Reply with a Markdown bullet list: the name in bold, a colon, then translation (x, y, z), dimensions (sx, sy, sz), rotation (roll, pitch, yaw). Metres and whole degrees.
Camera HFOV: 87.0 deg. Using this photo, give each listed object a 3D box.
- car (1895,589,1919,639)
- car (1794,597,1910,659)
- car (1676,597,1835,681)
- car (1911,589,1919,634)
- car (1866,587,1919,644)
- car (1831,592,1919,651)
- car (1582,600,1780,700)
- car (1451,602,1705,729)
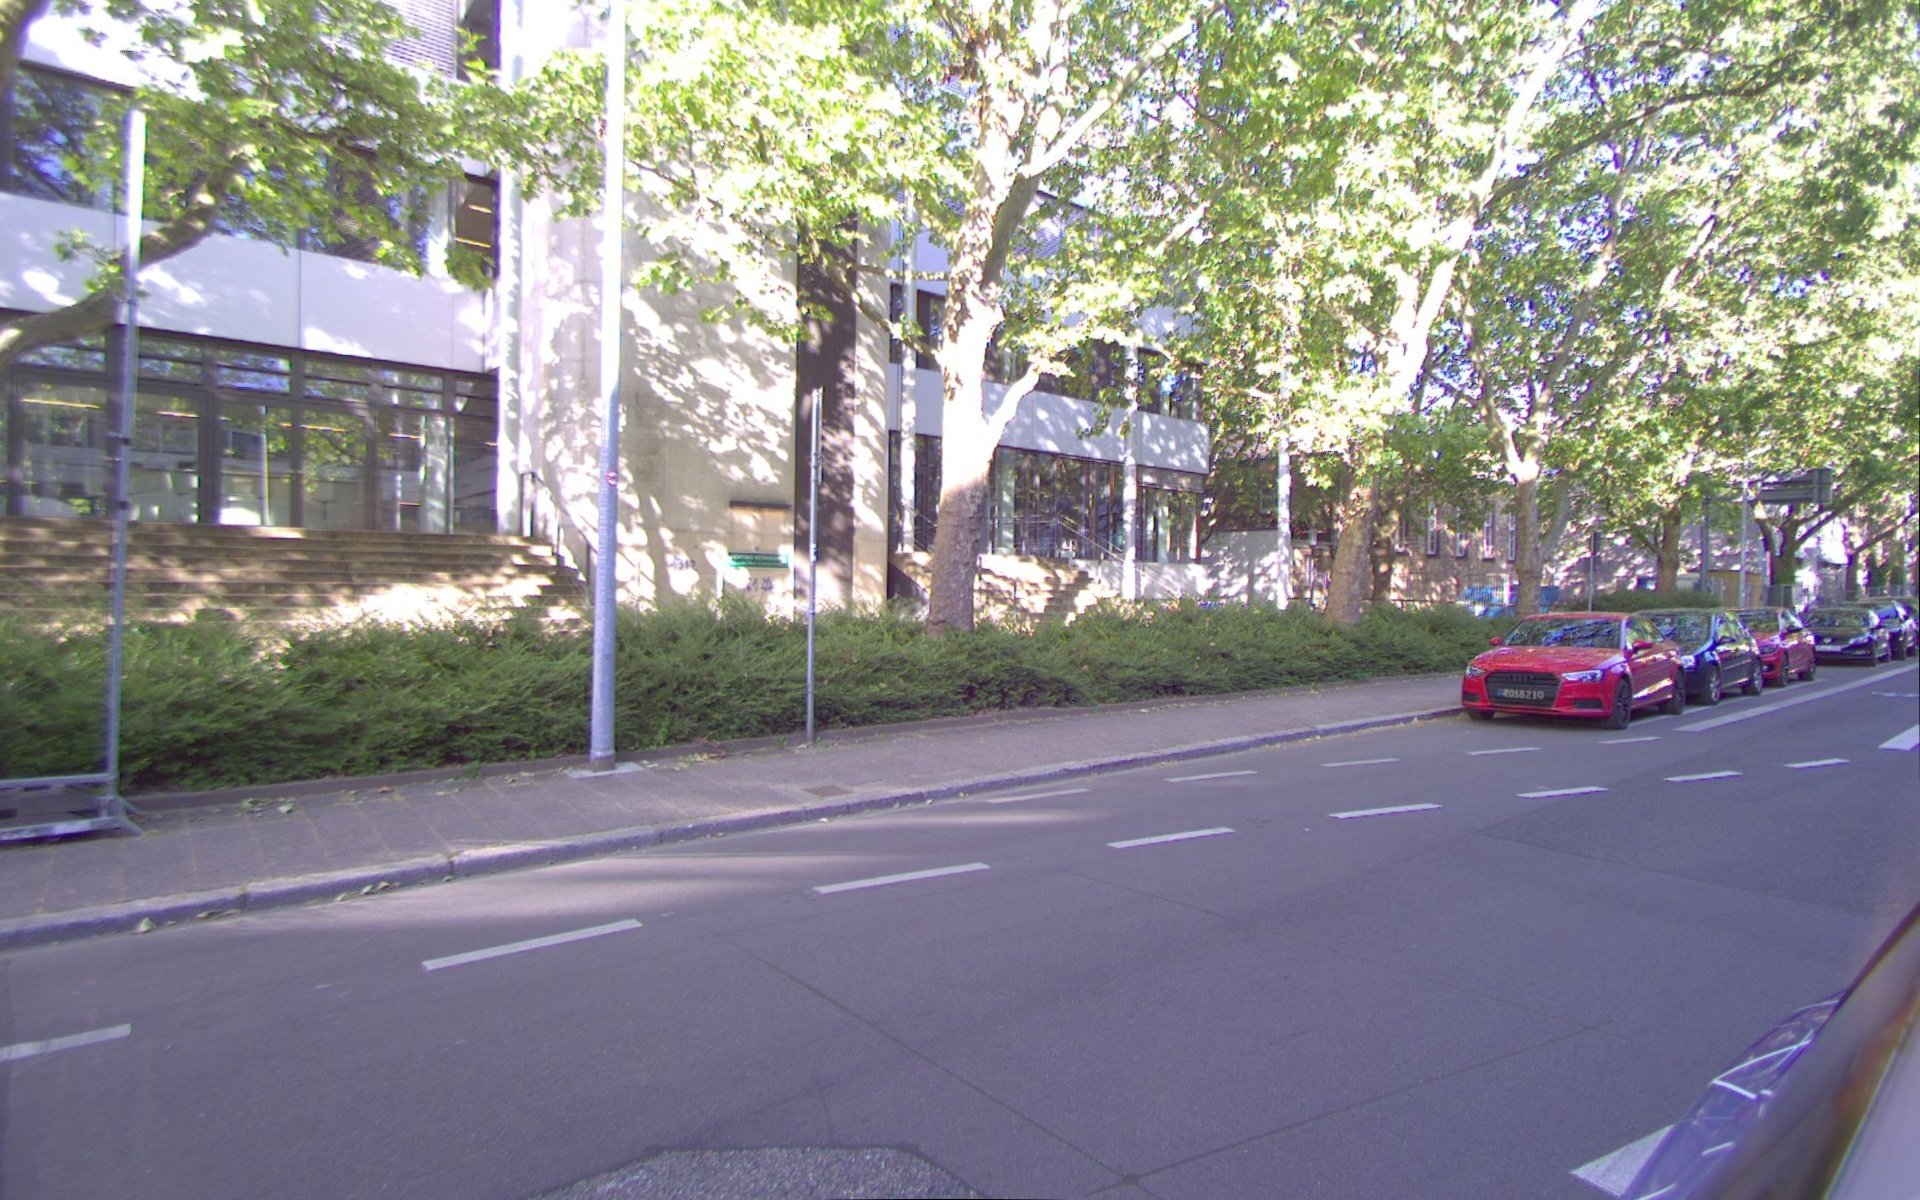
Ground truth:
- **car**: translation (35.910, 0.476, 37.248), dimensions (4.475, 1.777, 1.788), rotation (0, -1, -42)
- **car**: translation (23.051, 0.674, 26.097), dimensions (4.092, 1.478, 1.788), rotation (0, -1, -42)
- **car**: translation (15.859, 0.695, 20.104), dimensions (4.092, 1.502, 1.815), rotation (0, -1, -42)
- **car**: translation (39.627, 0.431, 40.398), dimensions (4.475, 1.777, 2.040), rotation (0, -1, -42)
- **car**: translation (31.057, 0.482, 33.012), dimensions (4.271, 1.777, 1.788), rotation (0, -1, -42)
- **car**: translation (26.596, 0.582, 29.129), dimensions (4.092, 1.573, 1.788), rotation (0, -1, -42)
- **car**: translation (11.954, 0.733, 16.683), dimensions (4.092, 1.431, 1.815), rotation (0, -1, -42)
- **car**: translation (8.360, 0.748, 13.544), dimensions (4.092, 1.431, 1.815), rotation (0, -1, -42)
